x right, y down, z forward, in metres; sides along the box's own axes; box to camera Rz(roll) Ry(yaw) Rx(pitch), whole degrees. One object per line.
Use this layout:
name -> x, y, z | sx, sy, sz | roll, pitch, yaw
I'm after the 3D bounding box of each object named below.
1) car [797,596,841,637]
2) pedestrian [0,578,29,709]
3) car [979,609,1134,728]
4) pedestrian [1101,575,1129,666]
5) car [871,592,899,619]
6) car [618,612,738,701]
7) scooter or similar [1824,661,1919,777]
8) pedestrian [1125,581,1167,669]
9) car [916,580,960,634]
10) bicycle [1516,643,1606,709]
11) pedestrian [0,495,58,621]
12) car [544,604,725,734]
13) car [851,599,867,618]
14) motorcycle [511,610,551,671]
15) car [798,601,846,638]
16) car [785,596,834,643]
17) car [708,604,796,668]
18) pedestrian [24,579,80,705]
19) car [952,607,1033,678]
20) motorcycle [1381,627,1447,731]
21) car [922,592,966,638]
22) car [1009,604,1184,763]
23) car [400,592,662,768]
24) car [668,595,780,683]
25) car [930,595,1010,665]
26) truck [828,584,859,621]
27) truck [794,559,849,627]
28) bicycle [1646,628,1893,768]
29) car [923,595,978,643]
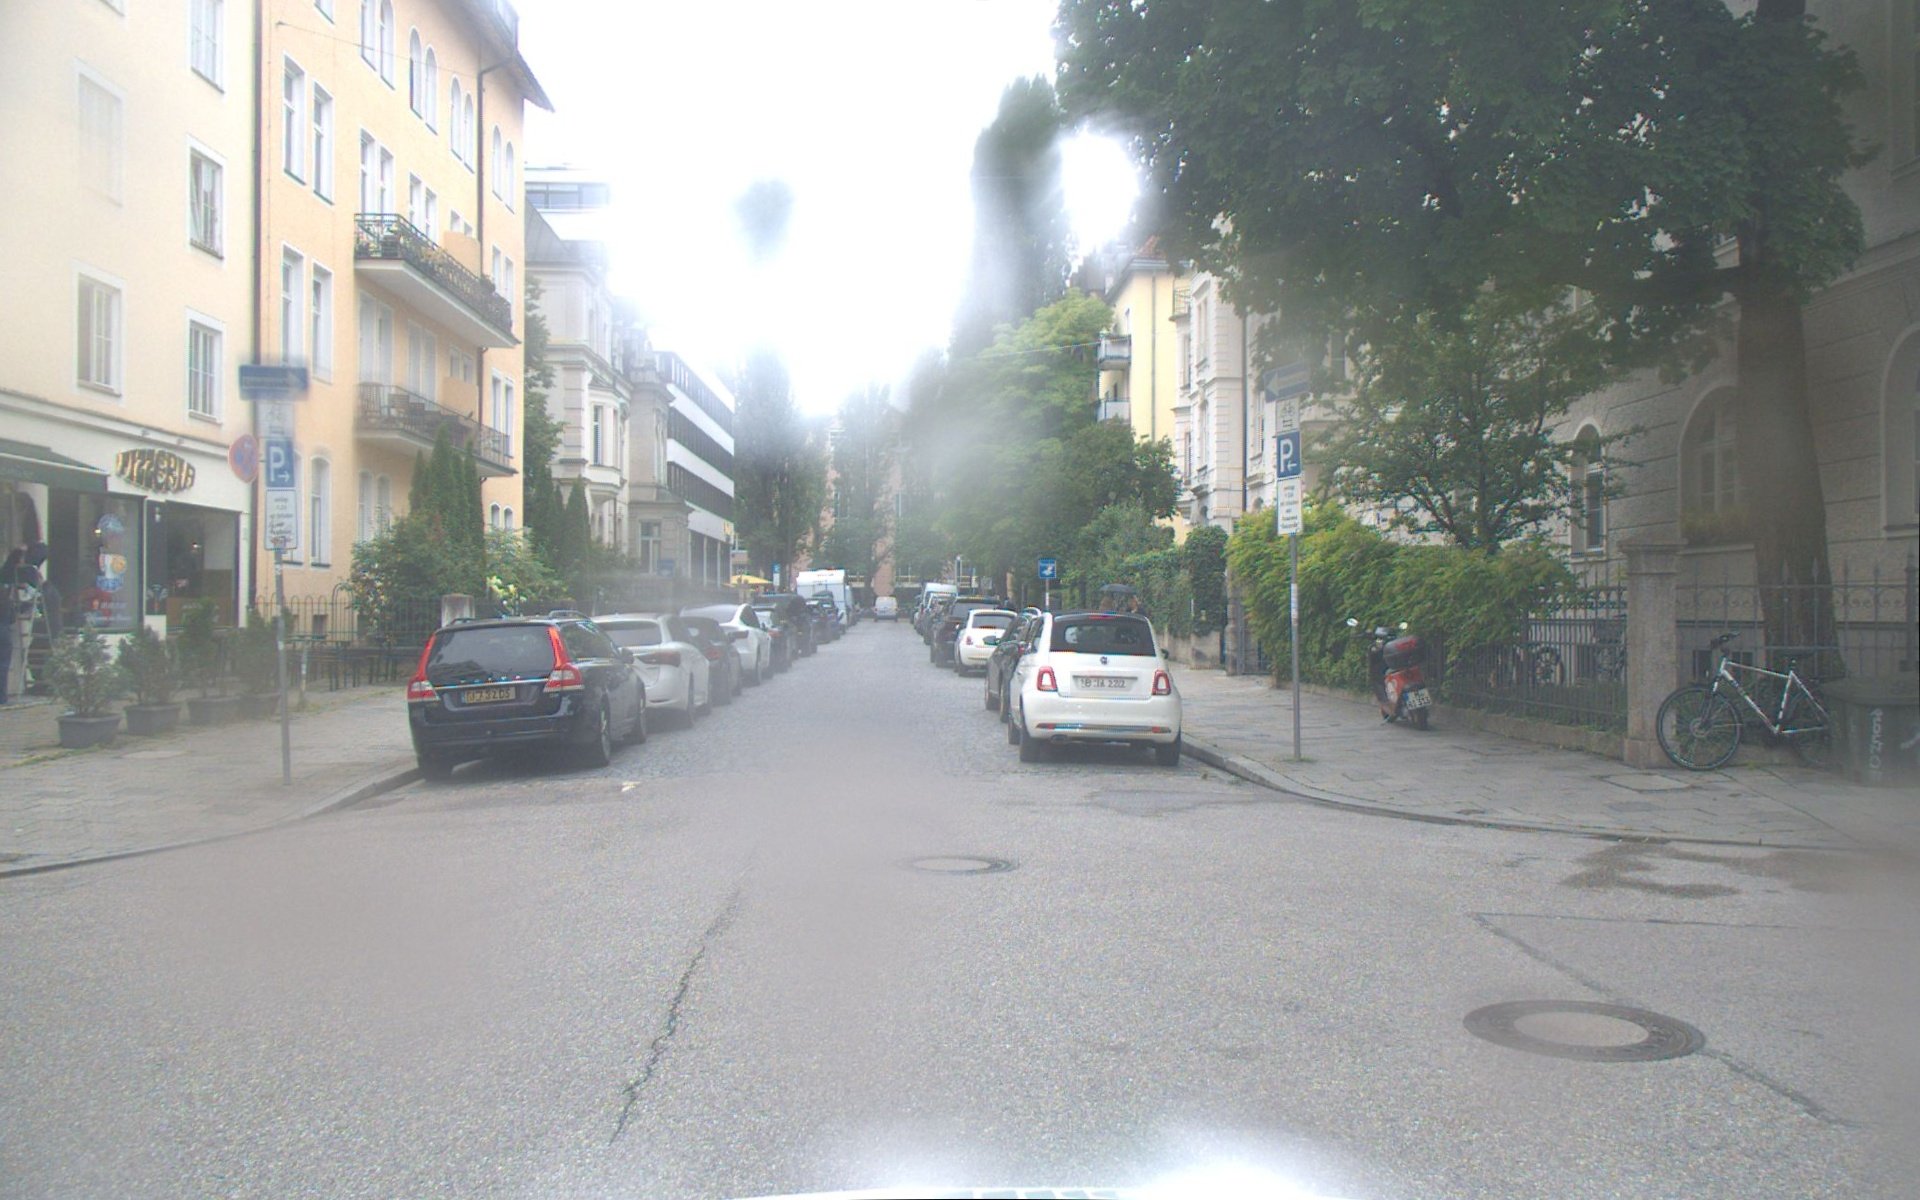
car -> -6.318, 0.708, 74.458 | 1.856, 1.781, 4.164 | 0, 0, -4
pedestrian -> -12.478, 0.560, 21.394 | 0.511, 1.671, 0.629 | 0, -1, -3
car -> 1.274, 0.905, 23.642 | 1.615, 1.447, 4.629 | 3, -1, -3
pedestrian -> 3.246, 0.422, 34.690 | 0.563, 1.882, 0.682 | 0, 0, 5
car -> -5.650, 0.431, 124.654 | 1.956, 1.970, 3.999 | 0, -1, -1
car -> -4.646, 0.897, 27.775 | 1.740, 1.383, 4.384 | 0, -1, -7
scooter or similar -> 7.671, 0.934, 13.164 | 1.158, 0.863, 0.925 | 0, -1, 7
pedestrian -> 3.933, 0.522, 35.001 | 0.620, 1.840, 0.655 | 1, -1, -25
car -> -1.137, 0.332, 82.297 | 1.857, 2.469, 5.607 | 4, 0, -3
bicycle -> 8.215, 1.017, 22.696 | 0.481, 0.826, 2.274 | 0, -1, 2
pedestrian -> -12.498, -0.556, 22.202 | 0.467, 1.671, 0.497 | 0, -1, 2
car -> -4.298, 0.869, 22.481 | 1.738, 1.563, 4.538 | -1, -1, -2
car -> -8.299, 0.710, 135.546 | 1.251, 1.568, 3.117 | 0, -1, -2
motorcycle -> -8.837, 0.817, 34.074 | 0.481, 1.215, 1.578 | 0, 0, -3
car -> -5.802, 0.825, 69.682 | 1.901, 1.485, 4.055 | 0, -1, -3
car -> -5.817, 0.744, 64.312 | 1.738, 1.748, 4.388 | 0, -1, -3
car -> -4.959, 0.850, 39.907 | 1.738, 1.454, 4.389 | 0, -1, -2
pedestrian -> -12.582, 0.579, 22.929 | 0.452, 1.720, 0.574 | 0, -1, -2
car -> 0.702, 0.939, 37.942 | 1.597, 1.495, 3.657 | 2, -1, -2
motorcycle -> 5.048, 0.860, 18.423 | 0.355, 1.109, 1.403 | 0, -1, 0
car -> -0.767, 0.691, 76.850 | 1.764, 1.983, 4.857 | 3, -1, -3
car -> 1.351, 0.813, 17.622 | 1.471, 1.497, 3.794 | 0, -1, -1
car -> -4.367, 0.762, 17.579 | 1.815, 1.614, 4.744 | 0, -1, -4
car -> -4.737, 0.765, 33.733 | 1.738, 1.676, 4.389 | 0, -1, -1
car -> 0.198, 0.772, 43.372 | 1.837, 1.702, 5.488 | 0, -1, -2
truck -> -7.702, 0.161, 109.536 | 1.953, 2.388, 4.066 | 0, -1, -2
truck -> -6.718, -0.352, 80.831 | 2.458, 3.084, 6.380 | -2, 0, -3
bicycle -> 6.867, 0.820, 14.096 | 1.798, 1.144, 0.563 | 0, 0, 8
car -> -0.410, 0.723, 63.933 | 1.924, 1.790, 4.951 | 0, -1, -3
